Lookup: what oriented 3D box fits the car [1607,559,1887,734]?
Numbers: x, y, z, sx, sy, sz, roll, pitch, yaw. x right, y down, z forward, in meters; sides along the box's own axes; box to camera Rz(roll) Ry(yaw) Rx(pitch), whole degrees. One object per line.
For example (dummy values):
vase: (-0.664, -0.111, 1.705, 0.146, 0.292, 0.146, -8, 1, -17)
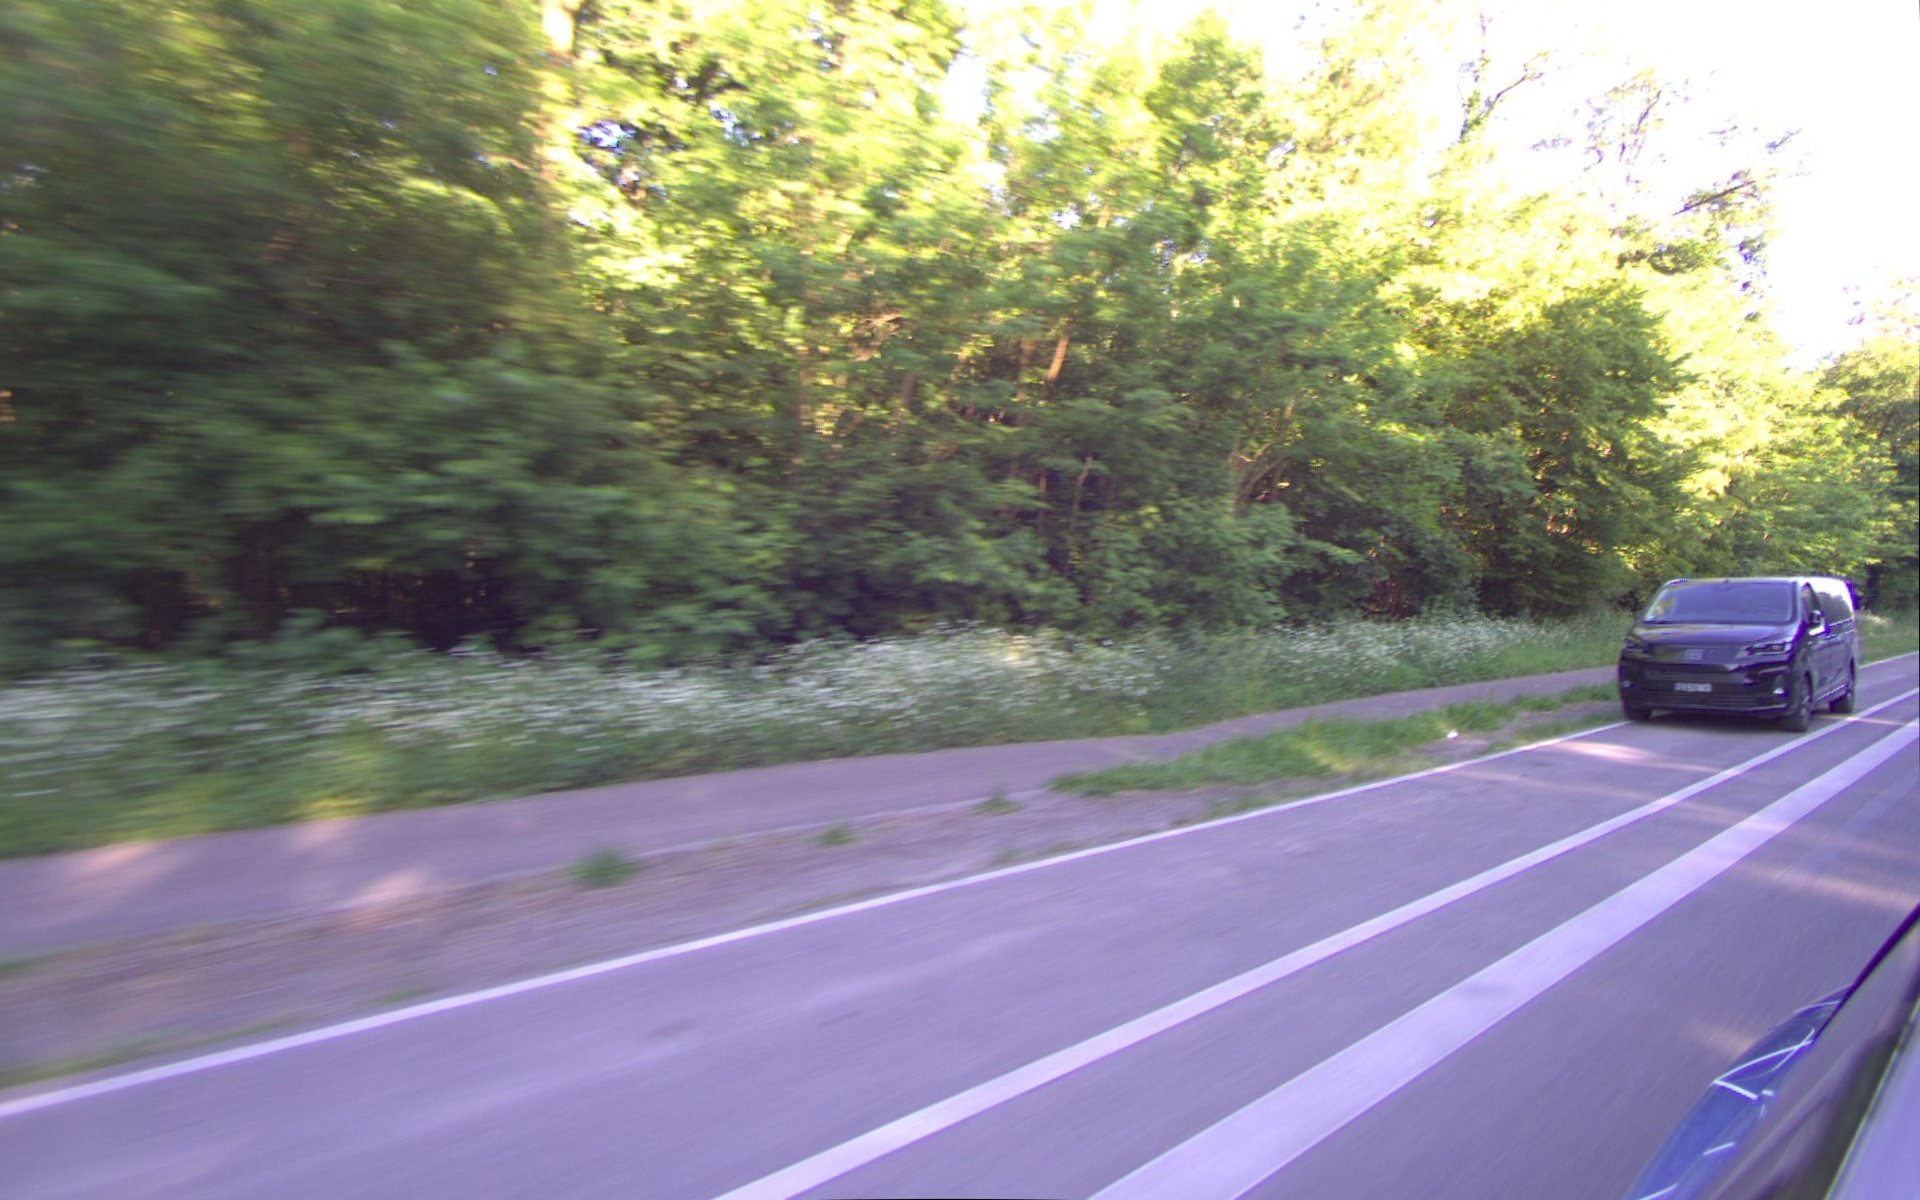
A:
car: (10.795, 0.502, 13.706, 5.377, 1.923, 1.997, 0, 0, -41)
